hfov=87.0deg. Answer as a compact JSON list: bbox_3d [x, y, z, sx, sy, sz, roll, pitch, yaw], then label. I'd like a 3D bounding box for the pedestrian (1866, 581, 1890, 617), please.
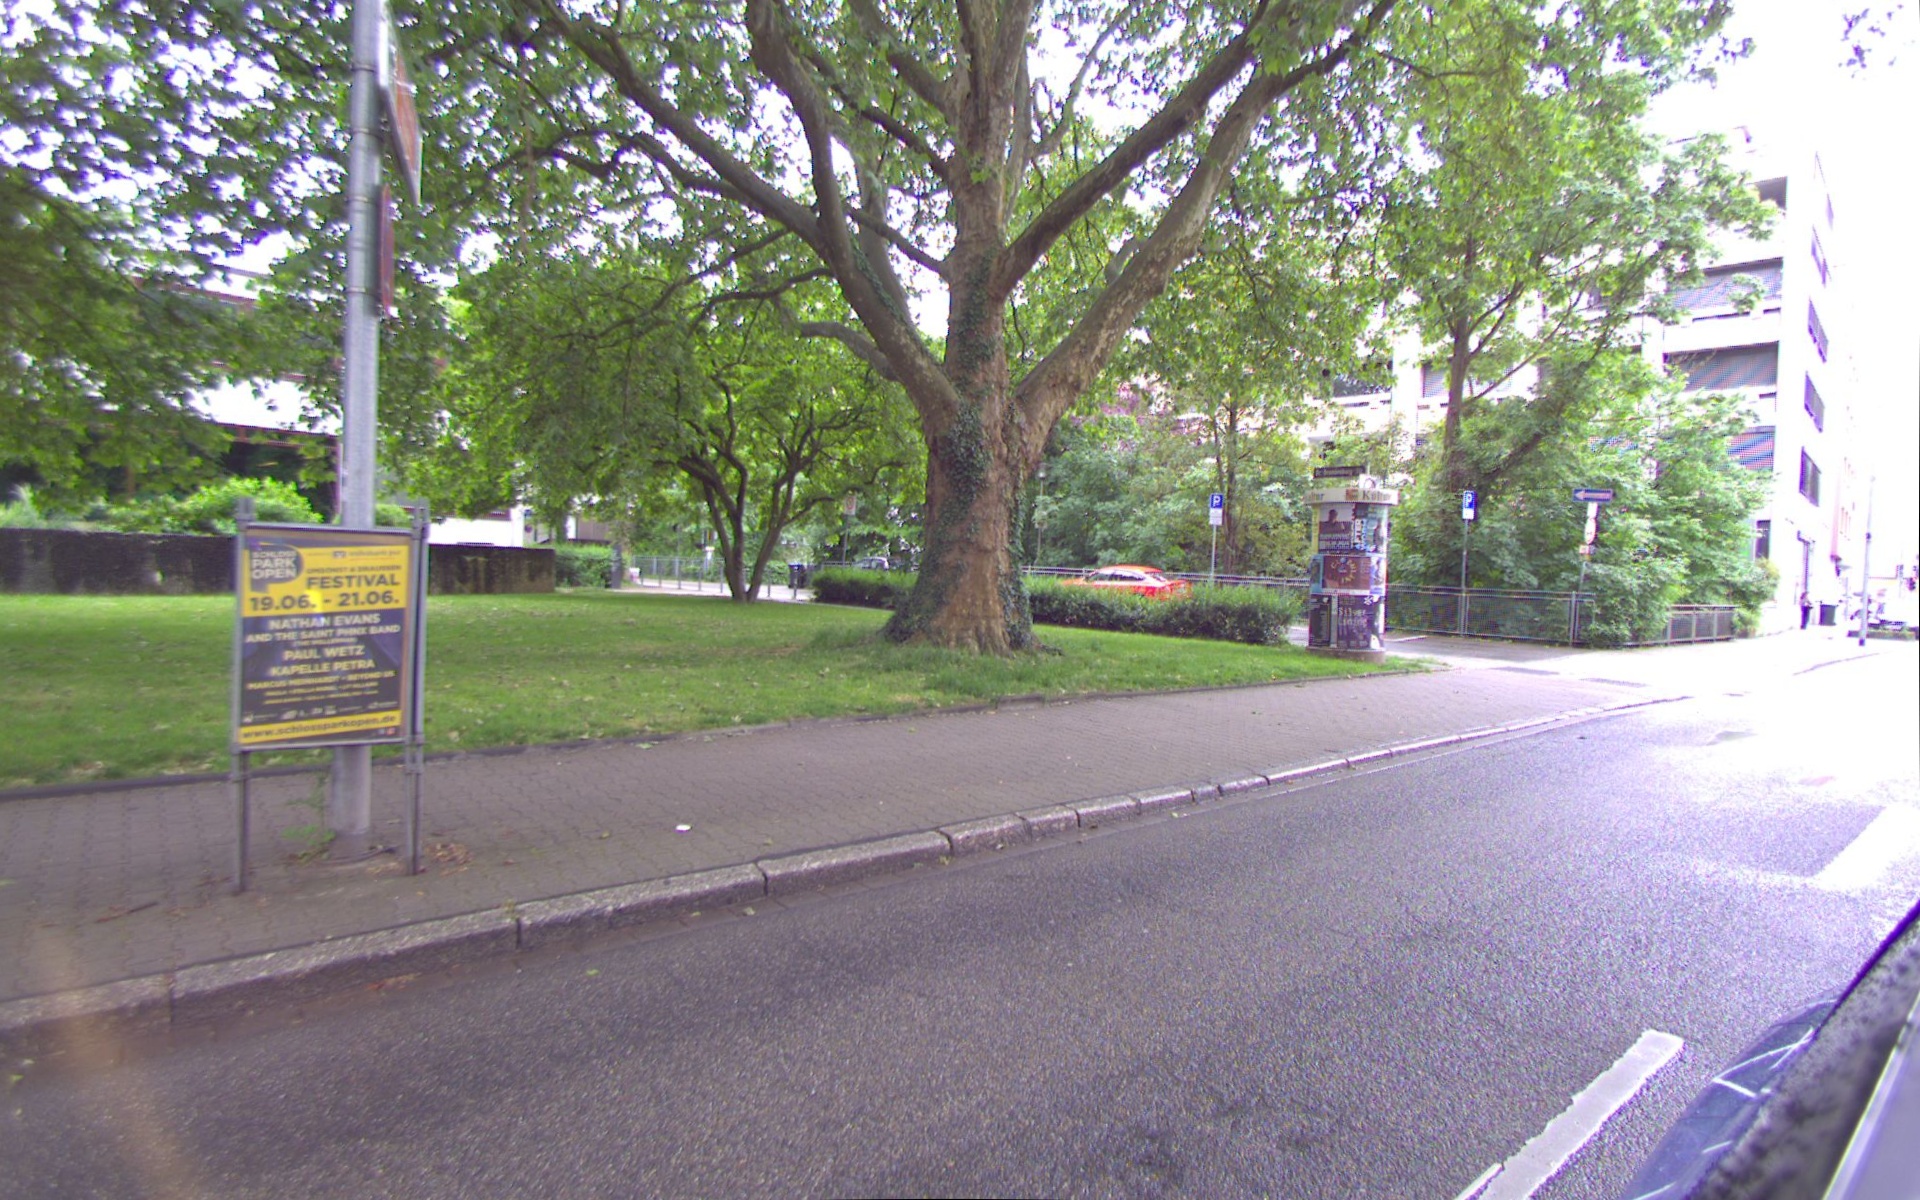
[{"bbox_3d":[56.476,-0.086,62.268,0.797,2.179,0.732,2,1,26],"label":"pedestrian"}]

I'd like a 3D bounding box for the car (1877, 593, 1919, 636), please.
[{"bbox_3d":[37.540,0.560,39.869,3.741,1.577,1.705,0,4,-43],"label":"car"}]

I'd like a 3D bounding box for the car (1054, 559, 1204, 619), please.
[{"bbox_3d":[4.916,-0.383,29.744,3.989,1.499,1.847,5,5,44],"label":"car"}]

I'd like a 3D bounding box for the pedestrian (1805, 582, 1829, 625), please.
[{"bbox_3d":[34.818,0.119,41.111,0.598,1.679,0.681,7,4,42],"label":"pedestrian"}]

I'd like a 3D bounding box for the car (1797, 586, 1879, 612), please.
[{"bbox_3d":[62.119,-0.092,71.668,1.770,1.604,4.155,0,3,-41],"label":"car"}]

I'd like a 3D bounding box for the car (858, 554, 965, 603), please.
[{"bbox_3d":[-1.814,-0.817,37.090,1.707,1.590,3.925,0,3,-45],"label":"car"}]

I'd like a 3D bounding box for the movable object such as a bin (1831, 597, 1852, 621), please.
[{"bbox_3d":[42.099,0.411,48.337,0.505,1.117,0.680,0,2,-42],"label":"movable object such as a bin"}]

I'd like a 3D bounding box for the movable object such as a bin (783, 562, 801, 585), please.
[{"bbox_3d":[-7.173,-1.123,43.161,0.573,0.986,0.512,0,0,-41],"label":"movable object such as a bin"}]

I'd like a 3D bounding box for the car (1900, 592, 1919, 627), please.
[{"bbox_3d":[42.551,0.449,44.191,4.493,1.437,1.834,0,3,-43],"label":"car"}]
